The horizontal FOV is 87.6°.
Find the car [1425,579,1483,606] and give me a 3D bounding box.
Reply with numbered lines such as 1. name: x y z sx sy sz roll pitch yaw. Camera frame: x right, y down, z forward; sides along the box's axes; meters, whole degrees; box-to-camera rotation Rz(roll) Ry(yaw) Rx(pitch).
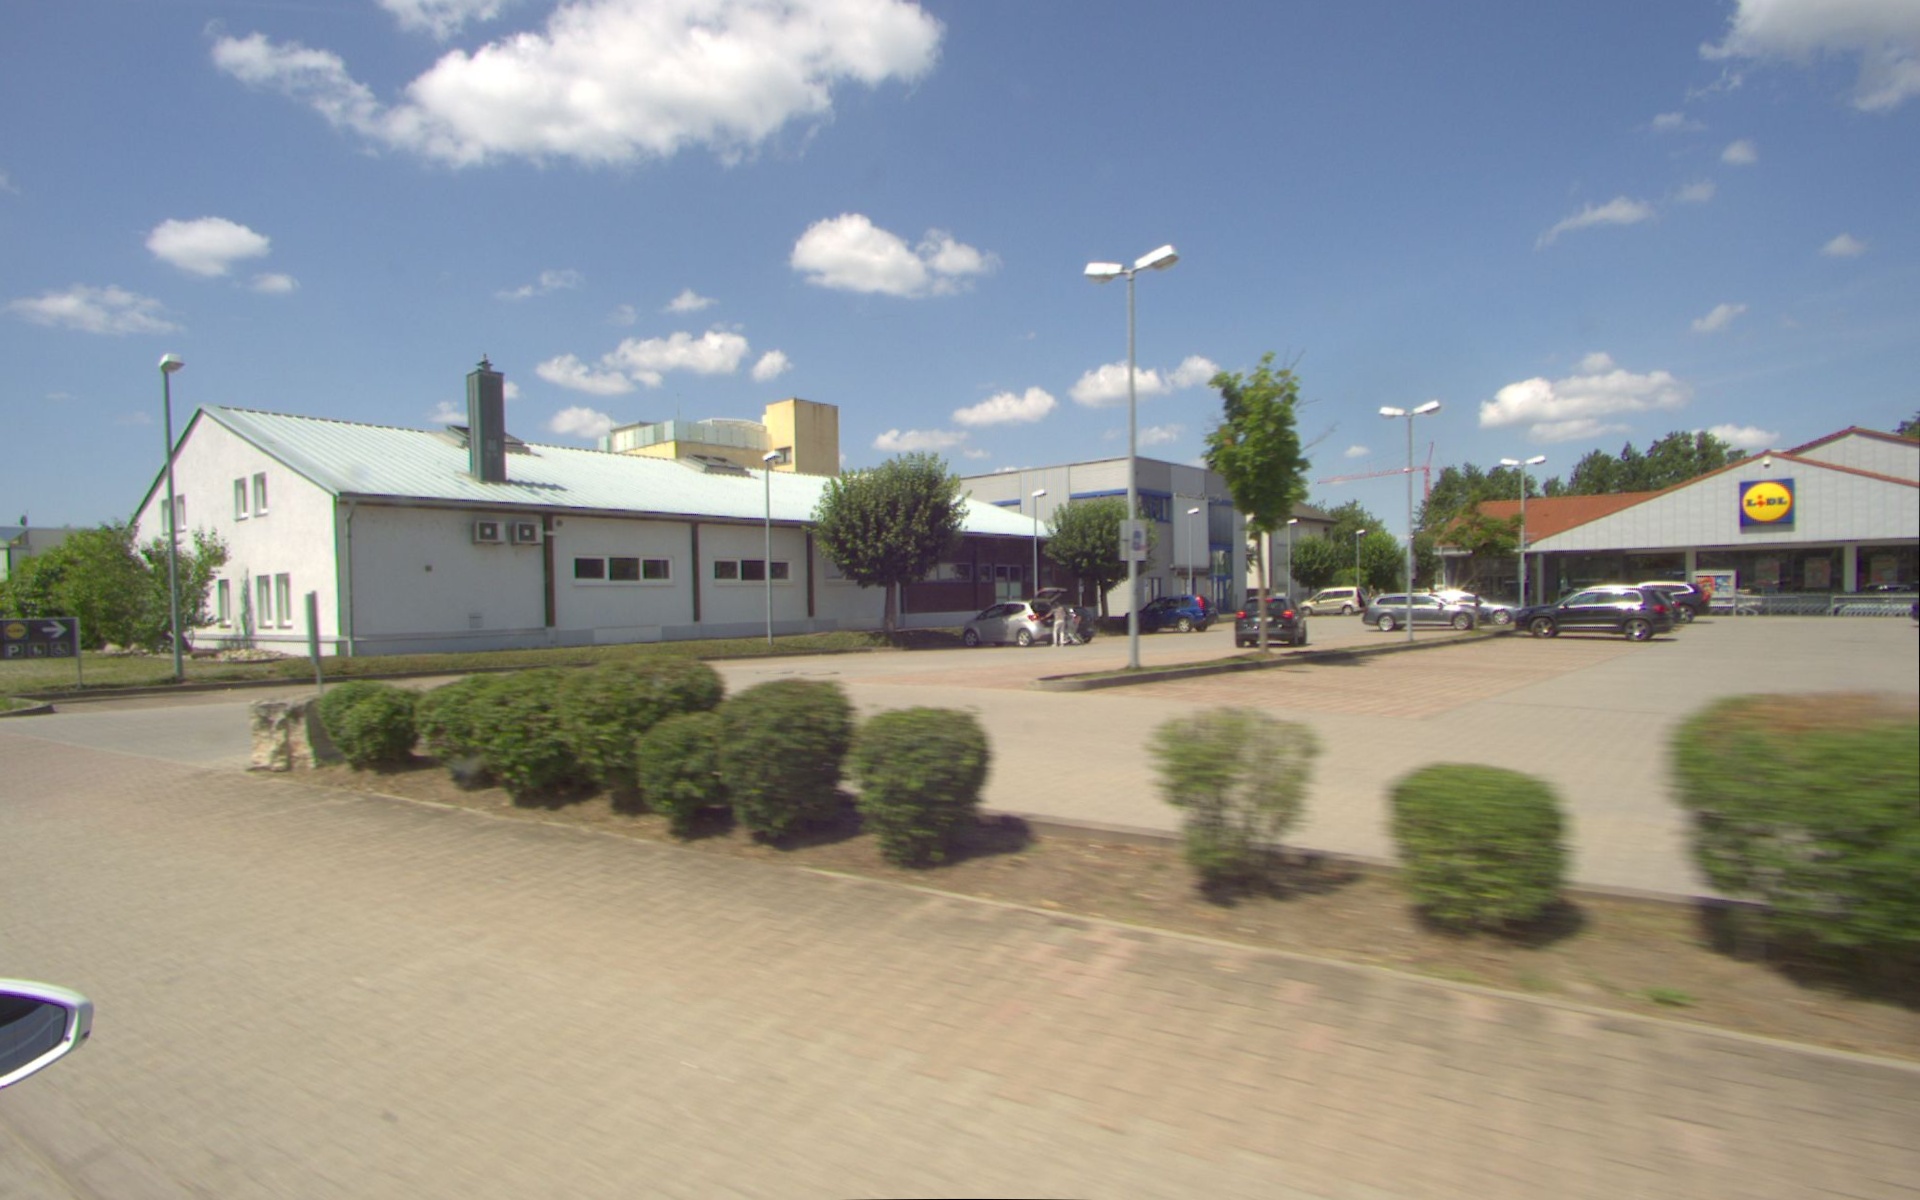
1. car: 39.253 -0.546 79.594 3.946 2.040 1.988 -1 0 35

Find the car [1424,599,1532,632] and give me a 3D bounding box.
1. car: 21.775 0.662 42.140 3.943 1.326 1.577 -1 0 33

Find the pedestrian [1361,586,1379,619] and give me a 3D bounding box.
1. pedestrian: 26.059 0.161 63.566 0.900 2.134 0.866 0 1 34

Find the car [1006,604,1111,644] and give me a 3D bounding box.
1. car: 3.673 0.890 37.752 3.700 1.443 1.580 -1 -1 40

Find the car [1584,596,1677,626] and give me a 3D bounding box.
1. car: 26.128 0.428 39.108 2.951 1.139 1.577 -1 0 32

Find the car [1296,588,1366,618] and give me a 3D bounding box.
1. car: 24.234 0.207 65.374 3.929 1.791 1.808 -3 0 35

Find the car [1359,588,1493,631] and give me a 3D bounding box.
1. car: 18.232 0.373 39.264 4.559 1.614 1.575 -1 0 37

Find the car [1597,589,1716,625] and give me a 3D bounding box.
1. car: 28.449 0.302 41.052 3.943 1.429 1.577 -1 0 33

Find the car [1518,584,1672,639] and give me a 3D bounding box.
1. car: 20.094 0.370 31.789 3.955 1.652 1.572 -1 0 42

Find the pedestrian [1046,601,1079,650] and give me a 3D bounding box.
1. pedestrian: 3.530 0.877 34.466 0.724 1.659 0.774 -3 0 -44

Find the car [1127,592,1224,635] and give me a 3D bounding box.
1. car: 9.959 0.636 46.434 3.941 1.730 1.879 -4 -1 40

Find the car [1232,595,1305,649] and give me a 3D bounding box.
1. car: 9.345 0.638 30.622 1.963 1.514 3.995 -1 0 15

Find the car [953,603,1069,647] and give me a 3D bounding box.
1. car: 1.799 0.873 36.116 3.856 1.518 1.879 -1 0 42

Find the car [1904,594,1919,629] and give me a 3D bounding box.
1. car: 34.568 0.386 33.856 1.597 1.189 3.752 -3 2 -43
